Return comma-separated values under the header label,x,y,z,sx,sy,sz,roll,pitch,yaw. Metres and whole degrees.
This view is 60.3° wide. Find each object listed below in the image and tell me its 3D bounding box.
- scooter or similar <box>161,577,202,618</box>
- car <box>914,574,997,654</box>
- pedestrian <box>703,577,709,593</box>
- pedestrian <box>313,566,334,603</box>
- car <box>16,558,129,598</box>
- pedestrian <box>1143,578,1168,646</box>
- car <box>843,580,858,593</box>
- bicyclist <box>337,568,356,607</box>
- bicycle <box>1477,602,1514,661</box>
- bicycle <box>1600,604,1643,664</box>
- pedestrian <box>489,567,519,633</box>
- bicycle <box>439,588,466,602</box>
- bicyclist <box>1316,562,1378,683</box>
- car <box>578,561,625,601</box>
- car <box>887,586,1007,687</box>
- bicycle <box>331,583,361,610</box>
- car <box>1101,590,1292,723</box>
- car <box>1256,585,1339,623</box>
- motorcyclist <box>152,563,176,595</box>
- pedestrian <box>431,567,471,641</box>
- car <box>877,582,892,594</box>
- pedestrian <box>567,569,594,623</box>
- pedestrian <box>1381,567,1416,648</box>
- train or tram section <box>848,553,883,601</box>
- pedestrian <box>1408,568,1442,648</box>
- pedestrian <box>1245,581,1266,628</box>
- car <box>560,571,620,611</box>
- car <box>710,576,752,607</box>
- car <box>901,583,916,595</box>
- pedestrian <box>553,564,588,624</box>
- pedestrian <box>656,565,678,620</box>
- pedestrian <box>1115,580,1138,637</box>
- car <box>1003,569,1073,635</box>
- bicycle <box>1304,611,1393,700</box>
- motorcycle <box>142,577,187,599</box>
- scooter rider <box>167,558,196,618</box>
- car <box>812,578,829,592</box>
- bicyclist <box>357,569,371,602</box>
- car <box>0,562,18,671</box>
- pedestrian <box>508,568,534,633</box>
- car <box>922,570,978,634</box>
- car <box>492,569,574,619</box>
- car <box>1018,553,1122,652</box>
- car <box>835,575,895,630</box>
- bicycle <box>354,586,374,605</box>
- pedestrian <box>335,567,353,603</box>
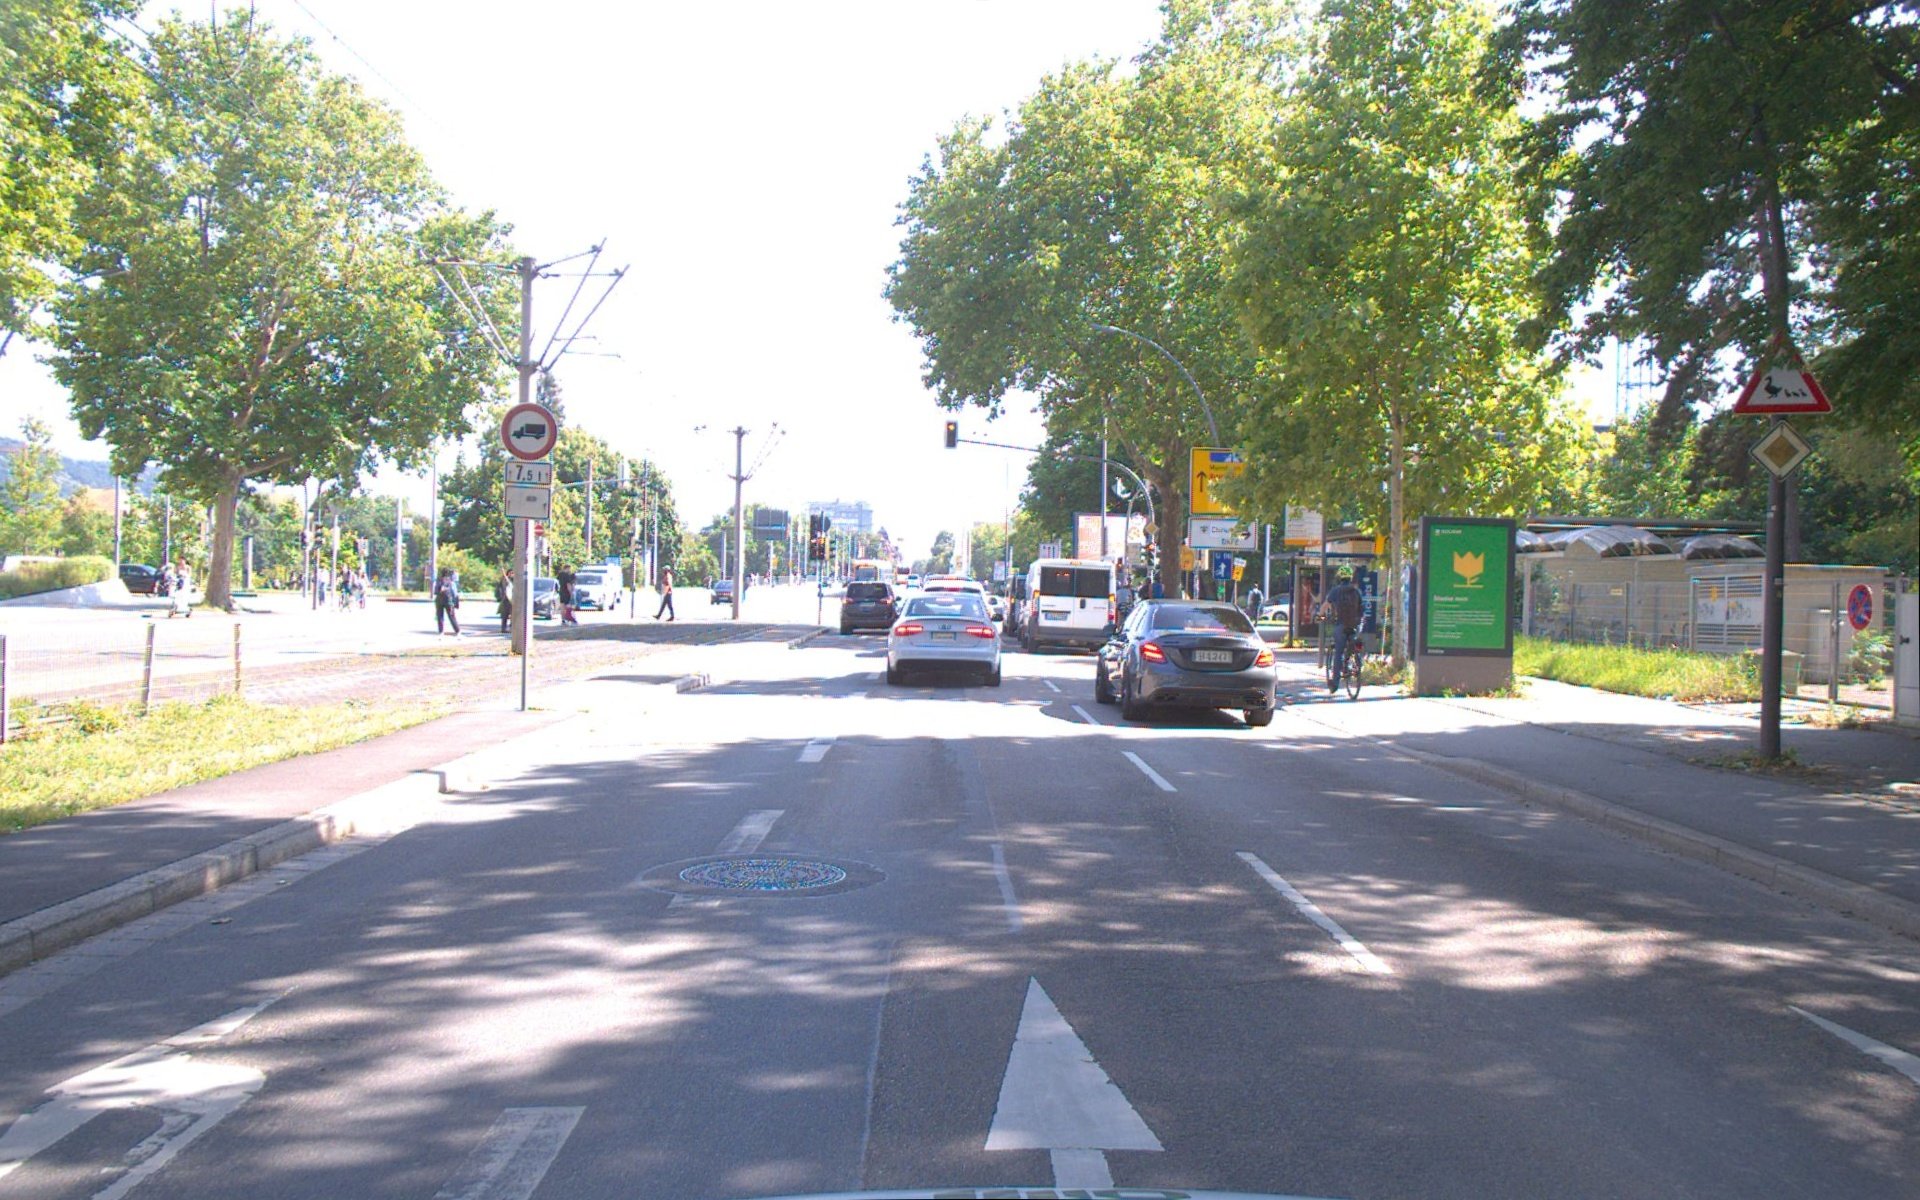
label,x,y,z,sx,sy,sz,roll,pitch,yaw
scooter or similar,-21.921,-0.082,46.560,0.536,1.132,1.248,2,0,0
car,-0.109,0.287,36.798,1.694,1.633,3.884,2,0,-1
pedestrian,-24.081,-1.419,156.747,0.412,1.576,0.552,2,0,0
pedestrian,-27.677,-0.672,71.917,0.610,1.569,0.644,1,0,-2
car,-37.692,-0.936,70.310,3.769,1.576,1.769,2,0,-1
pedestrian,5.785,0.355,48.943,0.622,1.980,0.719,2,0,0
car,-14.957,-1.883,226.293,1.953,1.670,3.999,2,0,-2
bicyclist,-22.712,-0.469,61.229,0.470,1.441,0.592,1,0,-1
bicycle,11.341,0.654,35.045,0.381,1.201,1.173,2,0,0
bicycle,13.734,0.704,34.368,0.381,1.201,1.173,2,0,0
pedestrian,-11.891,-0.004,43.096,0.580,1.675,0.554,2,0,0
bicycle,-29.196,-0.278,95.107,0.482,0.744,1.619,2,0,28
bicyclist,5.545,0.312,23.733,0.621,1.677,0.979,-1,0,-2
car,-22.604,-1.180,104.477,2.071,2.424,4.000,1,0,0
car,-0.217,0.527,26.583,1.748,1.445,3.884,2,0,-1
bicycle,-22.703,-0.132,61.218,0.474,0.978,1.654,1,0,0
car,2.847,0.632,20.711,1.746,1.445,4.000,2,0,-1
car,16.511,0.187,81.007,3.700,1.701,1.793,2,0,0
motorcyclist,-34.635,-0.910,71.944,0.737,1.337,0.604,1,0,-1
pedestrian,-11.520,0.083,37.428,0.748,1.651,0.590,2,0,-26
car,-10.615,-1.692,232.962,1.832,1.637,4.001,2,0,2
pedestrian,-11.638,-0.123,50.733,0.526,1.626,0.578,2,0,18
pedestrian,10.565,0.171,39.904,0.601,1.929,0.694,1,0,-4
train or tram section,-8.299,-2.002,145.734,2.563,4.085,7.748,2,0,0
pedestrian,11.271,0.190,40.074,0.601,1.929,0.597,1,0,-4
pedestrian,11.683,0.173,65.478,0.761,1.819,0.764,1,0,11
car,-16.130,-0.400,72.255,1.728,1.637,3.860,2,0,0
car,-13.801,-0.518,99.755,1.953,1.764,4.000,2,0,0
car,-7.247,-1.567,232.865,1.832,1.637,4.001,2,0,2
pedestrian,-11.773,-0.190,50.000,0.758,1.764,0.755,2,0,8
pedestrian,-10.628,-0.277,59.963,0.611,1.951,0.689,2,0,0
pedestrian,5.074,0.256,50.502,0.590,1.724,0.953,-1,0,-1
car,2.509,0.042,54.213,2.030,2.034,4.058,2,0,-1
bicycle,5.560,0.765,23.788,0.700,1.168,2.178,-1,1,-2
motorcycle,-34.606,-0.541,71.947,1.610,0.906,0.650,2,0,-1
scooter rider,-21.908,-0.343,46.556,0.496,1.660,0.566,2,0,0
car,-18.463,-1.975,218.701,1.953,1.670,3.999,2,0,-2
bicyclist,-24.261,-0.607,67.340,0.377,1.334,0.465,2,0,-3
car,-14.235,0.219,21.227,1.760,1.514,4.385,2,0,0
pedestrian,-11.681,0.019,44.013,0.482,1.708,0.643,2,0,0
car,-0.332,0.048,53.263,1.694,1.935,4.000,2,0,-1
car,-14.977,-0.214,58.209,1.833,1.637,4.000,2,0,0
car,2.659,0.045,40.919,2.184,2.250,4.161,2,0,-1
car,-3.028,0.061,53.189,1.694,1.659,4.000,2,0,-1
bicycle,-24.283,-0.175,67.373,0.412,0.761,1.145,2,0,-2
pedestrian,-26.766,-0.655,71.883,0.612,1.569,0.779,1,0,-16
